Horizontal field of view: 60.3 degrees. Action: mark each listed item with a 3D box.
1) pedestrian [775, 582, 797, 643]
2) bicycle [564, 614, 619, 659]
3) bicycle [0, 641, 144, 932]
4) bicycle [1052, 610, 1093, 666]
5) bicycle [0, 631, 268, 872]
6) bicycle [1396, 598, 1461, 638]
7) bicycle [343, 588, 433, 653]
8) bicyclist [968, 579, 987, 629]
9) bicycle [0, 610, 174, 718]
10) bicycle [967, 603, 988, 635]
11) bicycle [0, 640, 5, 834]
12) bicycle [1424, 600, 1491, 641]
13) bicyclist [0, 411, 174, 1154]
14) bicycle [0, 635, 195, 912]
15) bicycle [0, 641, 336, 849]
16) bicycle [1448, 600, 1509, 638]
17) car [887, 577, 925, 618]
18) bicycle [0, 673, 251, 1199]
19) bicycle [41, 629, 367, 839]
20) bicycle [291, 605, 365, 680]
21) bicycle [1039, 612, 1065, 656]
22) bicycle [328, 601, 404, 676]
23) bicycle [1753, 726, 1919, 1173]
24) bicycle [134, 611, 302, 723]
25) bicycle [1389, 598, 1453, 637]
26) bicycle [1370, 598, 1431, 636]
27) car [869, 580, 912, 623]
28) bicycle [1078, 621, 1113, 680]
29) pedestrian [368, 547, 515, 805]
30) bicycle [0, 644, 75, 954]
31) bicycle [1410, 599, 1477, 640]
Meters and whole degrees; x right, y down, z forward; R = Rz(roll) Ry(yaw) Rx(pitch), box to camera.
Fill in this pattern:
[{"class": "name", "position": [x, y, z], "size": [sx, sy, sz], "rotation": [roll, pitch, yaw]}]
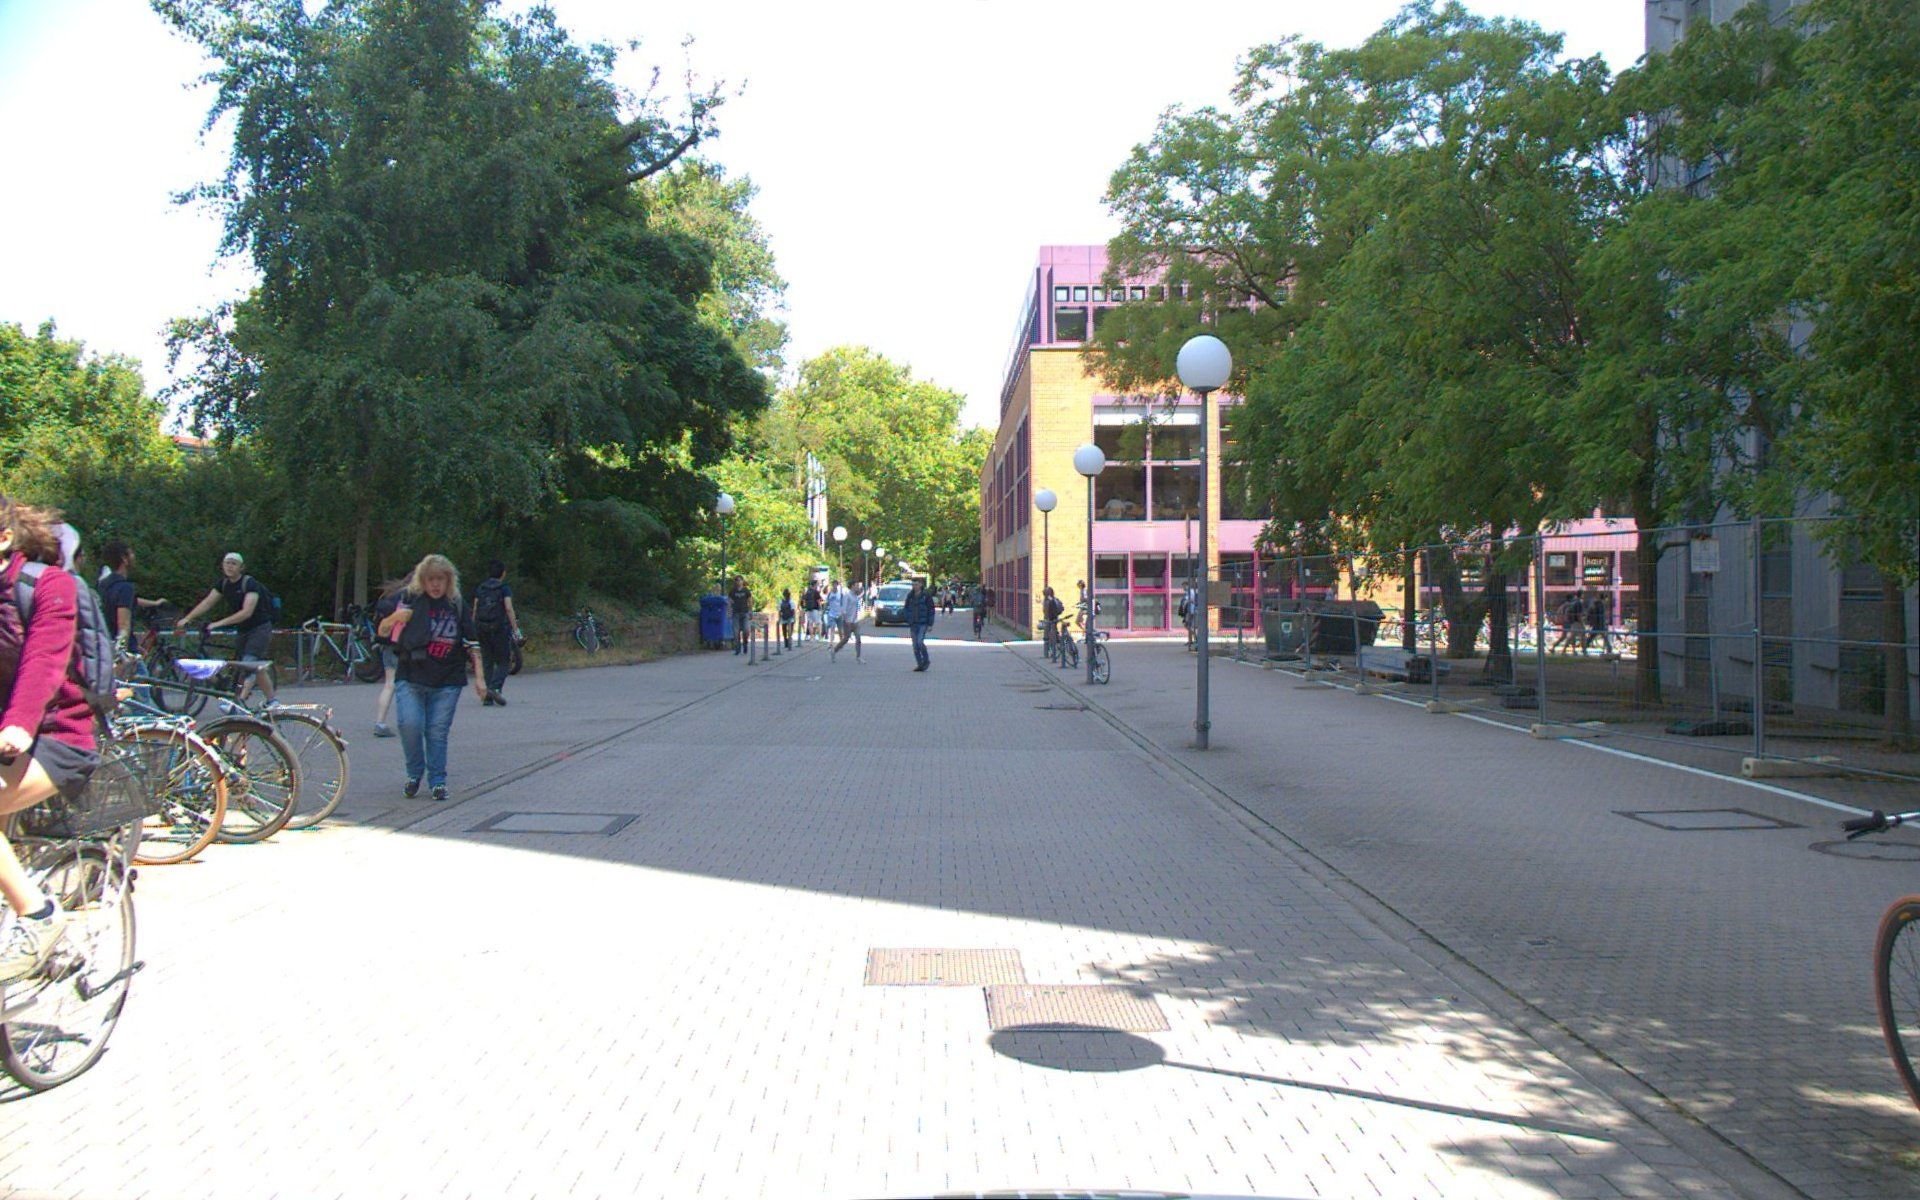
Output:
[{"class": "pedestrian", "position": [-4.757, 0.348, 45.197], "size": [0.558, 1.639, 0.917], "rotation": [1, -1, -5]}, {"class": "bicycle", "position": [-7.838, 0.777, 35.241], "size": [0.412, 0.926, 1.741], "rotation": [0, -1, 14]}, {"class": "bicycle", "position": [-4.406, 0.771, 6.956], "size": [1.665, 1.189, 0.472], "rotation": [1, 0, -14]}, {"class": "bicycle", "position": [2.309, 0.765, 34.150], "size": [0.694, 1.112, 1.748], "rotation": [0, 0, -1]}, {"class": "bicycle", "position": [-4.513, 0.764, 8.516], "size": [1.662, 1.189, 0.473], "rotation": [1, 0, -7]}, {"class": "bicycle", "position": [13.906, 0.539, 49.148], "size": [1.771, 1.129, 0.524], "rotation": [1, 0, 2]}, {"class": "bicycle", "position": [-9.864, 0.360, 28.576], "size": [0.463, 1.065, 1.700], "rotation": [2, 0, 20]}, {"class": "bicyclist", "position": [0.608, 0.138, 57.609], "size": [0.575, 1.746, 0.665], "rotation": [0, 0, -4]}, {"class": "bicycle", "position": [-9.189, 0.656, 17.047], "size": [0.532, 1.065, 1.895], "rotation": [-2, -3, 44]}, {"class": "bicycle", "position": [0.608, 0.656, 57.600], "size": [0.575, 1.102, 1.906], "rotation": [0, 0, -4]}, {"class": "bicycle", "position": [-5.722, 0.776, 8.572], "size": [0.496, 1.102, 1.700], "rotation": [1, 0, 2]}, {"class": "bicycle", "position": [14.324, 0.576, 47.638], "size": [1.771, 1.129, 0.524], "rotation": [1, 0, 3]}, {"class": "bicyclist", "position": [-2.636, 0.437, 4.321], "size": [0.756, 1.746, 0.910], "rotation": [-1, -1, -4]}, {"class": "bicycle", "position": [-4.474, 0.763, 7.665], "size": [1.737, 1.189, 0.474], "rotation": [1, 0, 12]}, {"class": "bicycle", "position": [-4.435, 0.799, 9.280], "size": [1.662, 1.110, 0.473], "rotation": [1, 0, -7]}, {"class": "bicycle", "position": [16.159, 0.583, 51.527], "size": [1.771, 1.129, 0.473], "rotation": [1, 0, -7]}, {"class": "car", "position": [-2.747, -0.142, 84.758], "size": [1.845, 2.008, 5.214], "rotation": [0, 0, -1]}, {"class": "bicycle", "position": [-2.637, 0.818, 4.335], "size": [0.756, 1.170, 2.106], "rotation": [-1, -1, -4]}, {"class": "bicycle", "position": [-4.419, 0.773, 9.749], "size": [1.663, 1.179, 0.473], "rotation": [1, 0, -10]}, {"class": "bicycle", "position": [-9.484, 0.625, 24.797], "size": [0.470, 1.065, 1.674], "rotation": [1, 0, -41]}, {"class": "bicycle", "position": [2.208, 0.810, 39.759], "size": [0.441, 0.978, 1.740], "rotation": [-2, 0, -1]}, {"class": "bicycle", "position": [-9.095, 0.577, 25.291], "size": [0.470, 1.065, 1.674], "rotation": [3, 0, -41]}, {"class": "bicycle", "position": [2.687, 0.918, 4.075], "size": [0.526, 1.057, 1.858], "rotation": [-1, 0, -1]}, {"class": "bicycle", "position": [-7.906, 0.686, 17.717], "size": [0.463, 1.129, 1.845], "rotation": [1, 0, 21]}, {"class": "bicycle", "position": [13.967, 0.540, 50.117], "size": [1.773, 1.129, 0.523], "rotation": [1, 0, -4]}, {"class": "bicycle", "position": [13.846, 0.527, 51.986], "size": [1.773, 1.129, 0.523], "rotation": [1, 0, -3]}, {"class": "car", "position": [-3.004, 0.049, 71.965], "size": [1.754, 1.792, 4.480], "rotation": [0, 0, -1]}, {"class": "bicycle", "position": [2.315, 0.854, 28.447], "size": [0.387, 0.952, 1.731], "rotation": [-2, 0, -1]}, {"class": "pedestrian", "position": [-3.628, 0.502, 11.556], "size": [0.760, 1.709, 0.896], "rotation": [0, 0, -34]}, {"class": "bicycle", "position": [-4.424, 0.769, 6.413], "size": [1.668, 1.189, 0.472], "rotation": [1, 0, -18]}, {"class": "bicycle", "position": [14.111, 0.567, 48.296], "size": [1.773, 1.129, 0.523], "rotation": [1, 0, -2]}]
